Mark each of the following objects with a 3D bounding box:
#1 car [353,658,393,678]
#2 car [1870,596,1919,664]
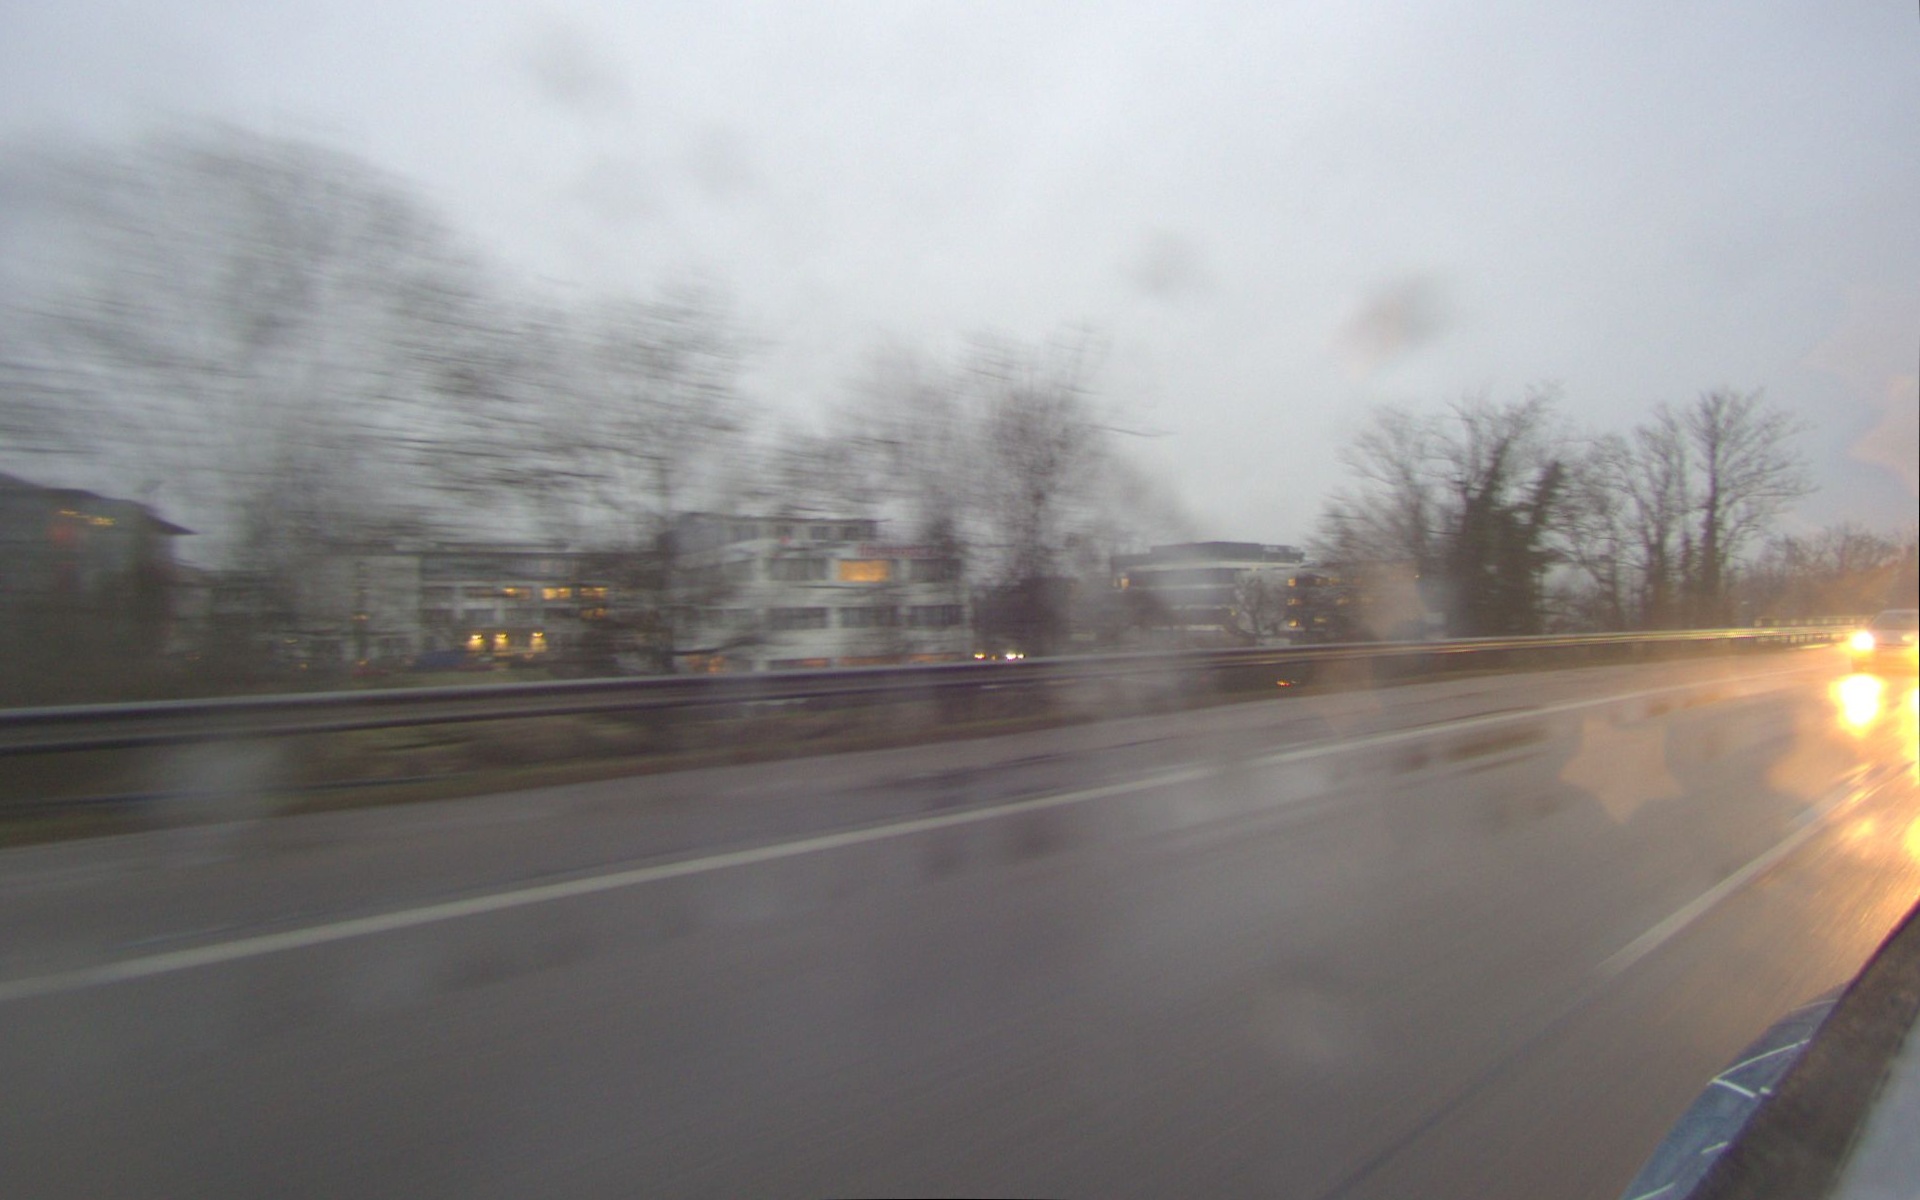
[{"bbox_3d":[-68.822,7.936,118.674,3.924,2.039,2.000,0,0,-36],"label":"car"},{"bbox_3d":[23.577,0.688,24.402,4.074,1.549,1.849,0,0,-39],"label":"car"}]
